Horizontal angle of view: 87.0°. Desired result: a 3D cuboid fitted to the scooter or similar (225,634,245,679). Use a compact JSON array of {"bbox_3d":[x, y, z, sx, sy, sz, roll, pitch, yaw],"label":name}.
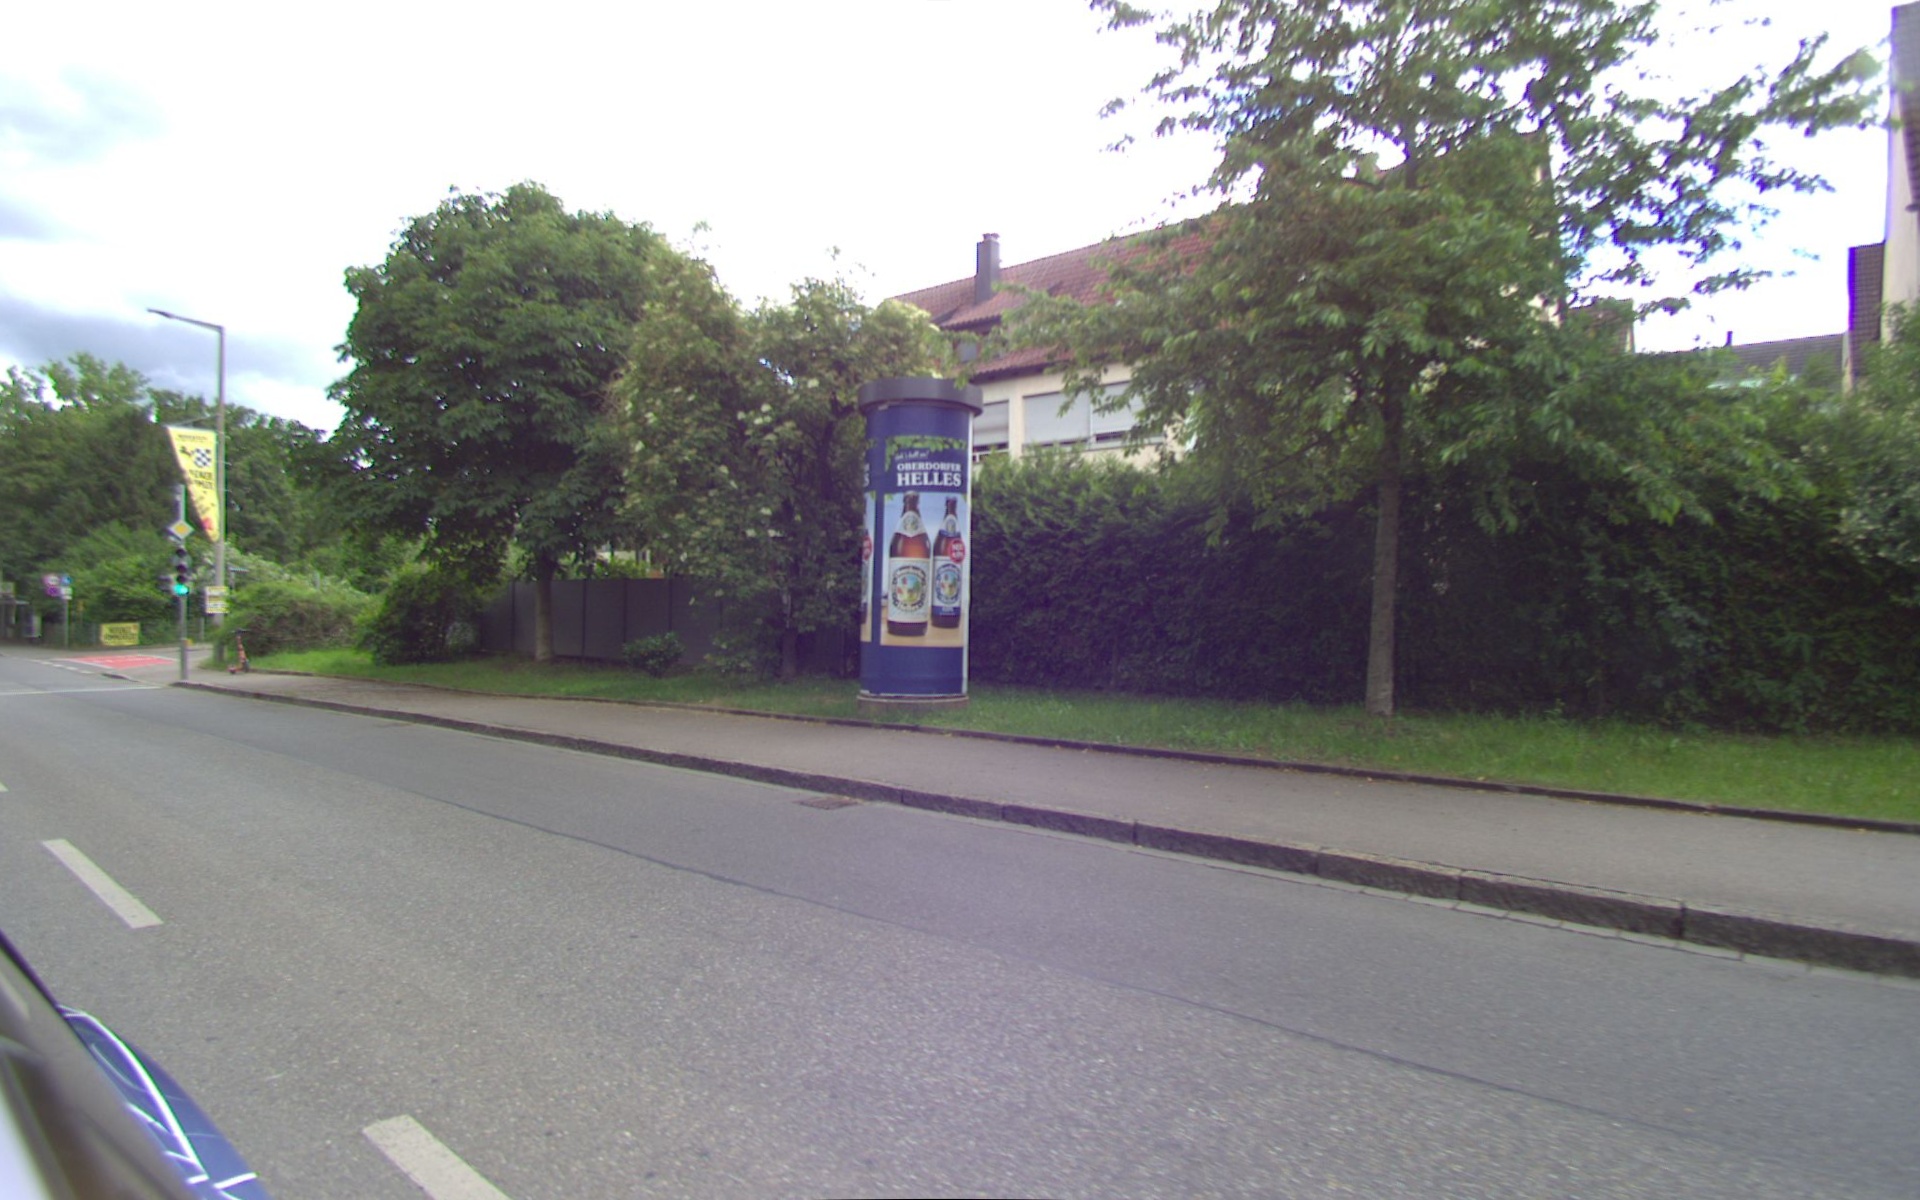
[{"bbox_3d":[-20.507,1.592,28.618,0.250,1.225,1.280,0,-2,-45],"label":"scooter or similar"}]
